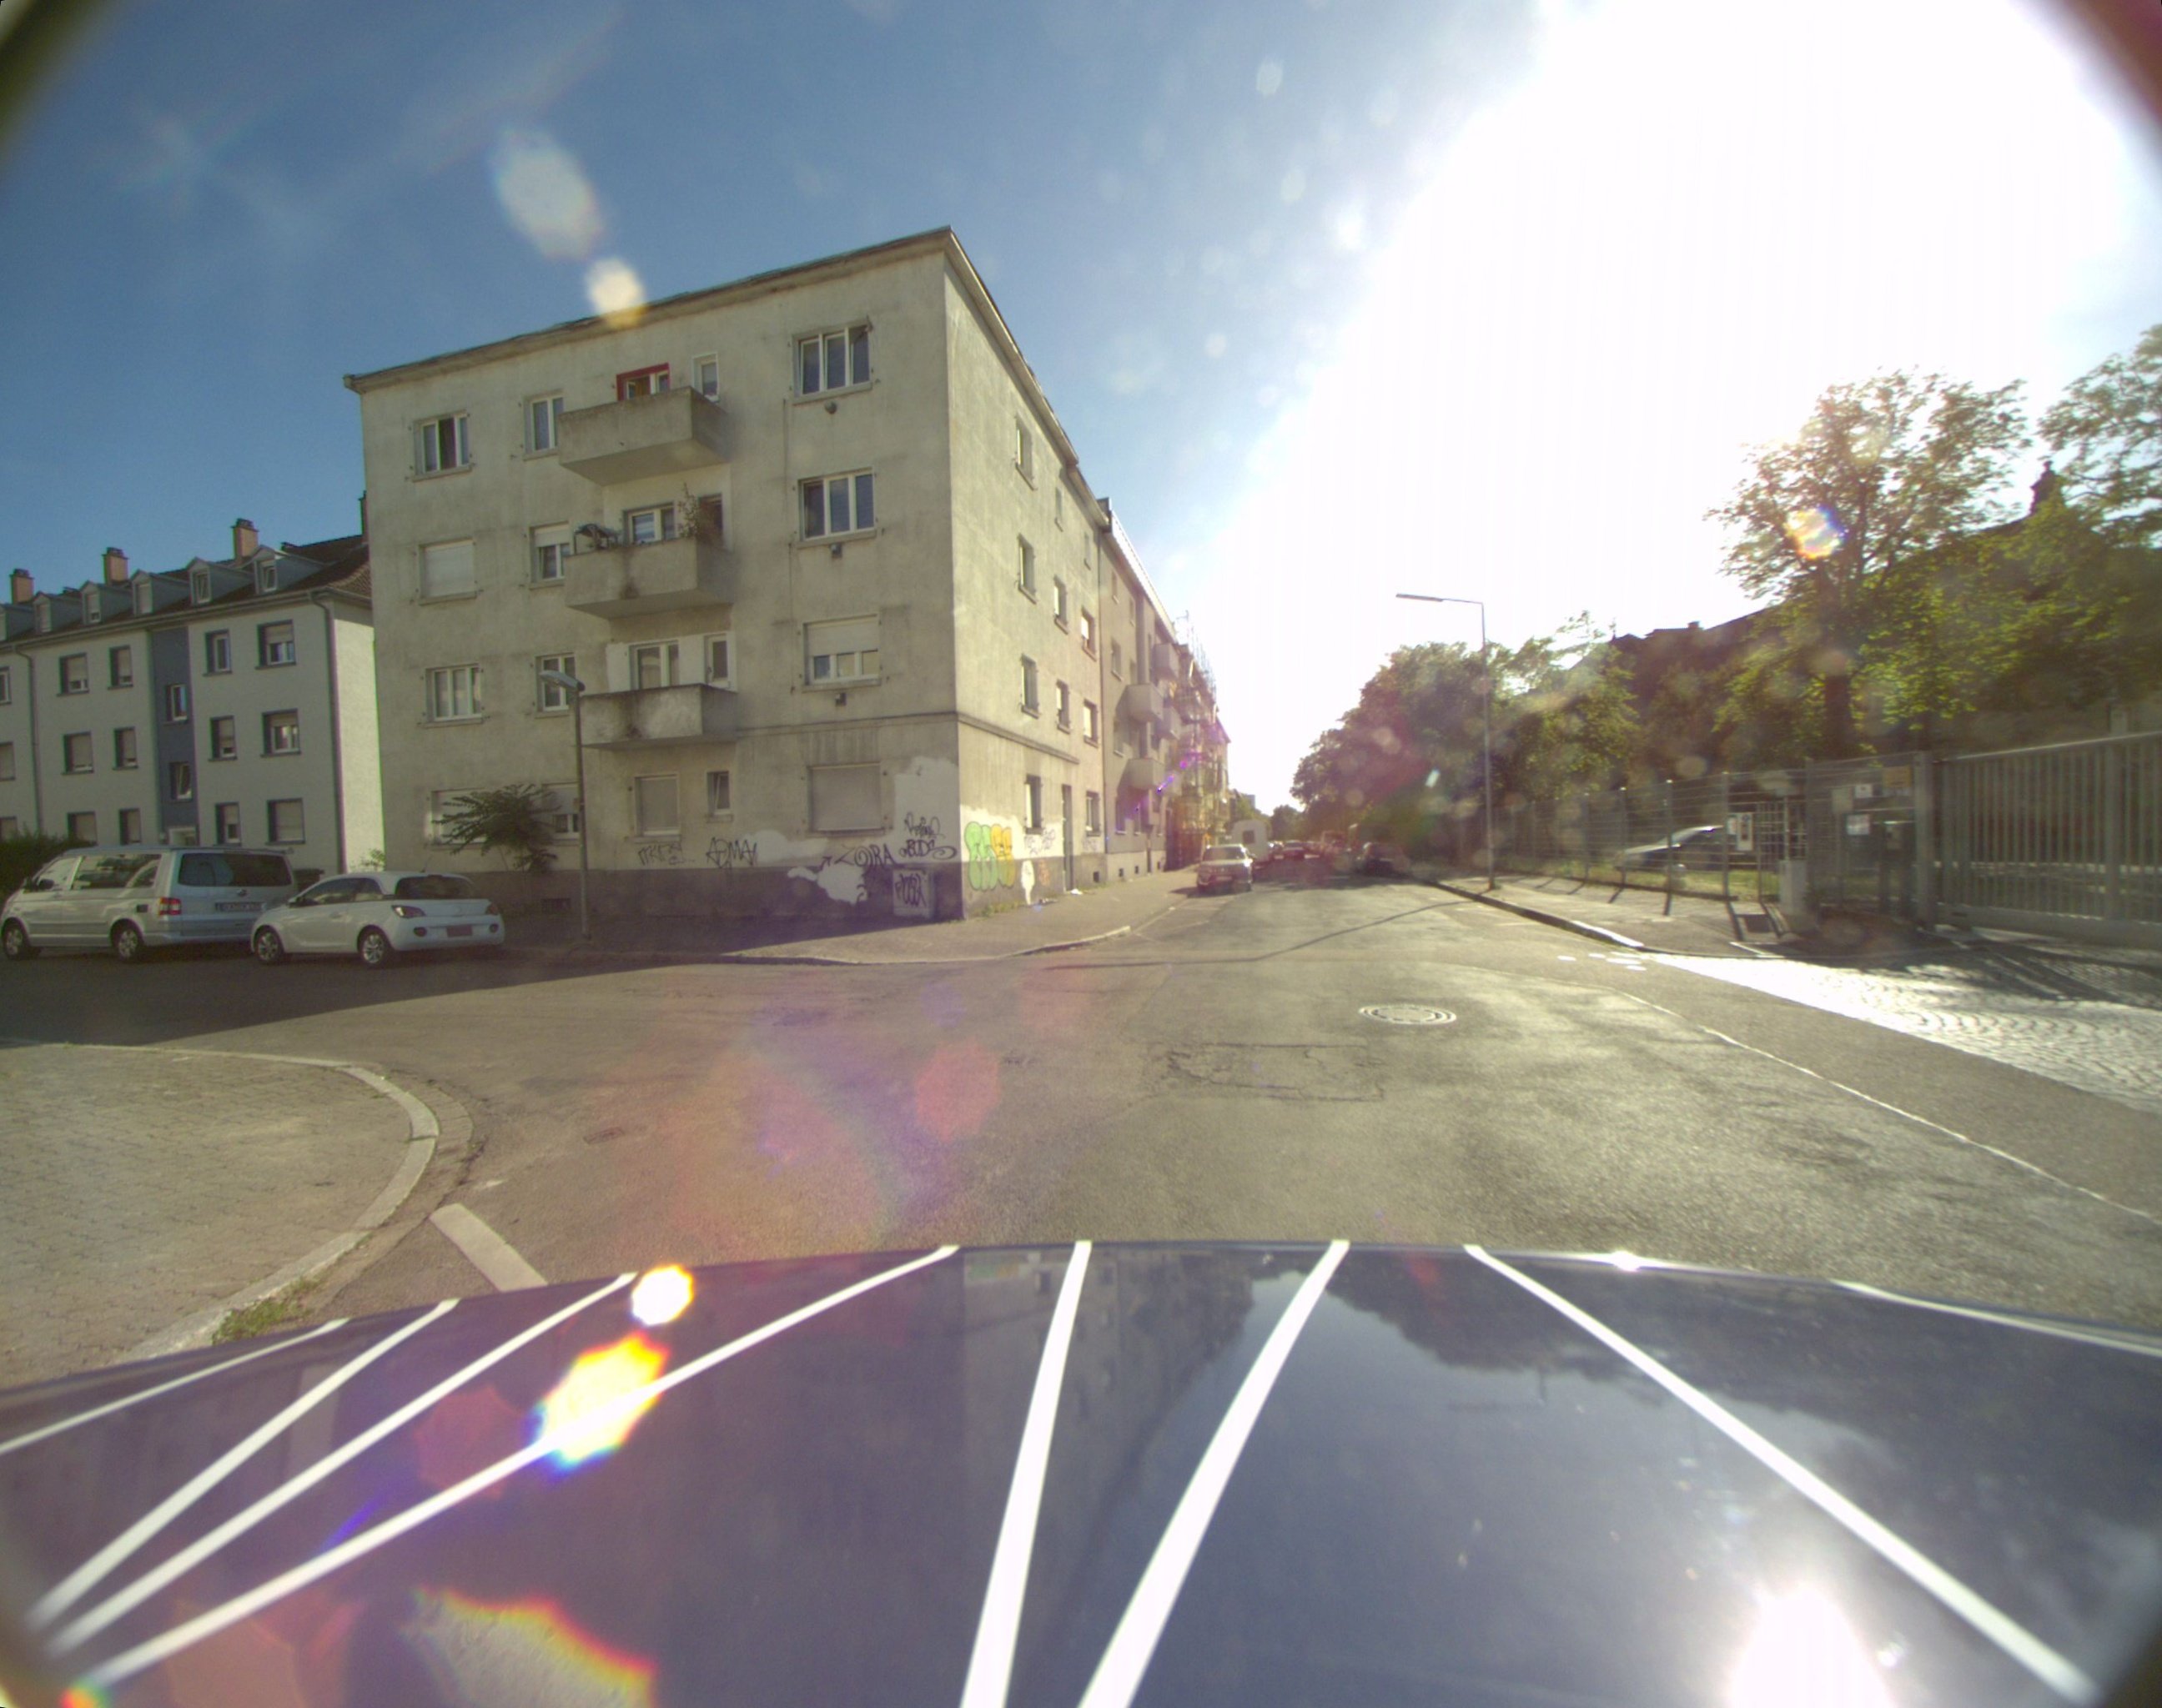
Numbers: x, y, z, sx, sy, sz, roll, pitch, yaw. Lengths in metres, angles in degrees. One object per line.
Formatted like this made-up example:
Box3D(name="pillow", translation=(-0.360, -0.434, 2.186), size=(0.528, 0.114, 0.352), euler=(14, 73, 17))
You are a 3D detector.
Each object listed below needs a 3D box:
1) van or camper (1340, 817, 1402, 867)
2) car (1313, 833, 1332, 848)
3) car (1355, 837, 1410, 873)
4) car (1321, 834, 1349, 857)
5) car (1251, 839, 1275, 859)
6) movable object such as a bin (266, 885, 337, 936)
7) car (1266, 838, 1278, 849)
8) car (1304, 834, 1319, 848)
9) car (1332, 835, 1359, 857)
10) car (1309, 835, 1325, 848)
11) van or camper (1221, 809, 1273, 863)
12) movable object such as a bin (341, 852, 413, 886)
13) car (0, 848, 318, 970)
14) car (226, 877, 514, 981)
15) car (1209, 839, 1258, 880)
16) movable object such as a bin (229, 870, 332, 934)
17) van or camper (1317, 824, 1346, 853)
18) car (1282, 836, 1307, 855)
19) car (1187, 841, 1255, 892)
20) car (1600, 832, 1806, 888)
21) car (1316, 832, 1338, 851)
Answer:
Box3D(name="van or camper", translation=(14.615, -0.631, 38.613), size=(2.209, 2.268, 5.314), euler=(-2, 1, 14))
Box3D(name="car", translation=(30.126, -1.671, 94.875), size=(1.996, 1.773, 4.004), euler=(-1, 1, 15))
Box3D(name="car", translation=(13.002, 0.000, 32.949), size=(1.650, 1.409, 4.003), euler=(-2, 1, 14))
Box3D(name="car", translation=(18.986, -0.658, 56.891), size=(1.650, 1.674, 4.003), euler=(-1, 1, 14))
Box3D(name="car", translation=(13.706, -0.392, 57.340), size=(1.650, 1.409, 4.003), euler=(-2, 1, 14))
Box3D(name="movable object such as a bin", translation=(-17.769, 1.275, 17.332), size=(0.814, 1.073, 0.776), euler=(-1, 2, 15))
Box3D(name="car", translation=(26.743, -1.476, 106.385), size=(1.650, 1.451, 4.003), euler=(-1, 1, 14))
Box3D(name="car", translation=(35.250, -2.045, 116.223), size=(1.996, 2.002, 4.004), euler=(-1, 1, 15))
Box3D(name="car", translation=(21.547, -0.706, 61.952), size=(1.650, 1.674, 4.003), euler=(-1, 1, 14))
Box3D(name="car", translation=(33.558, -1.804, 108.127), size=(1.996, 1.739, 4.004), euler=(-1, 1, 15))
Box3D(name="van or camper", translation=(10.594, -1.099, 48.212), size=(2.954, 3.162, 6.179), euler=(0, 1, 15))
Box3D(name="movable object such as a bin", translation=(-21.378, 0.436, 23.095), size=(1.201, 0.993, 1.134), euler=(0, 1, 15))
Box3D(name="car", translation=(-16.587, 0.922, 13.574), size=(4.847, 1.922, 1.959), euler=(-1, 0, 14))
Box3D(name="car", translation=(-11.383, 1.130, 12.230), size=(3.714, 1.450, 1.694), euler=(-1, 0, 16))
Box3D(name="car", translation=(6.596, 0.193, 32.529), size=(1.874, 1.544, 4.003), euler=(-2, 1, 14))
Box3D(name="movable object such as a bin", translation=(-18.837, 1.103, 17.913), size=(1.043, 1.369, 1.260), euler=(-1, 2, 15))
Box3D(name="van or camper", translation=(22.709, -1.389, 69.054), size=(2.123, 2.484, 4.003), euler=(-1, 1, 14))
Box3D(name="car", translation=(18.299, -0.752, 65.334), size=(1.860, 1.543, 4.003), euler=(-1, 1, 14))
Box3D(name="car", translation=(4.944, 0.372, 26.359), size=(2.067, 1.544, 4.003), euler=(-2, 1, 14))
Box3D(name="car", translation=(17.249, 0.155, 21.311), size=(3.993, 1.412, 2.002), euler=(-1, 1, 14))
Box3D(name="car", translation=(26.974, -1.355, 83.384), size=(1.996, 2.002, 4.004), euler=(-1, 1, 15))
